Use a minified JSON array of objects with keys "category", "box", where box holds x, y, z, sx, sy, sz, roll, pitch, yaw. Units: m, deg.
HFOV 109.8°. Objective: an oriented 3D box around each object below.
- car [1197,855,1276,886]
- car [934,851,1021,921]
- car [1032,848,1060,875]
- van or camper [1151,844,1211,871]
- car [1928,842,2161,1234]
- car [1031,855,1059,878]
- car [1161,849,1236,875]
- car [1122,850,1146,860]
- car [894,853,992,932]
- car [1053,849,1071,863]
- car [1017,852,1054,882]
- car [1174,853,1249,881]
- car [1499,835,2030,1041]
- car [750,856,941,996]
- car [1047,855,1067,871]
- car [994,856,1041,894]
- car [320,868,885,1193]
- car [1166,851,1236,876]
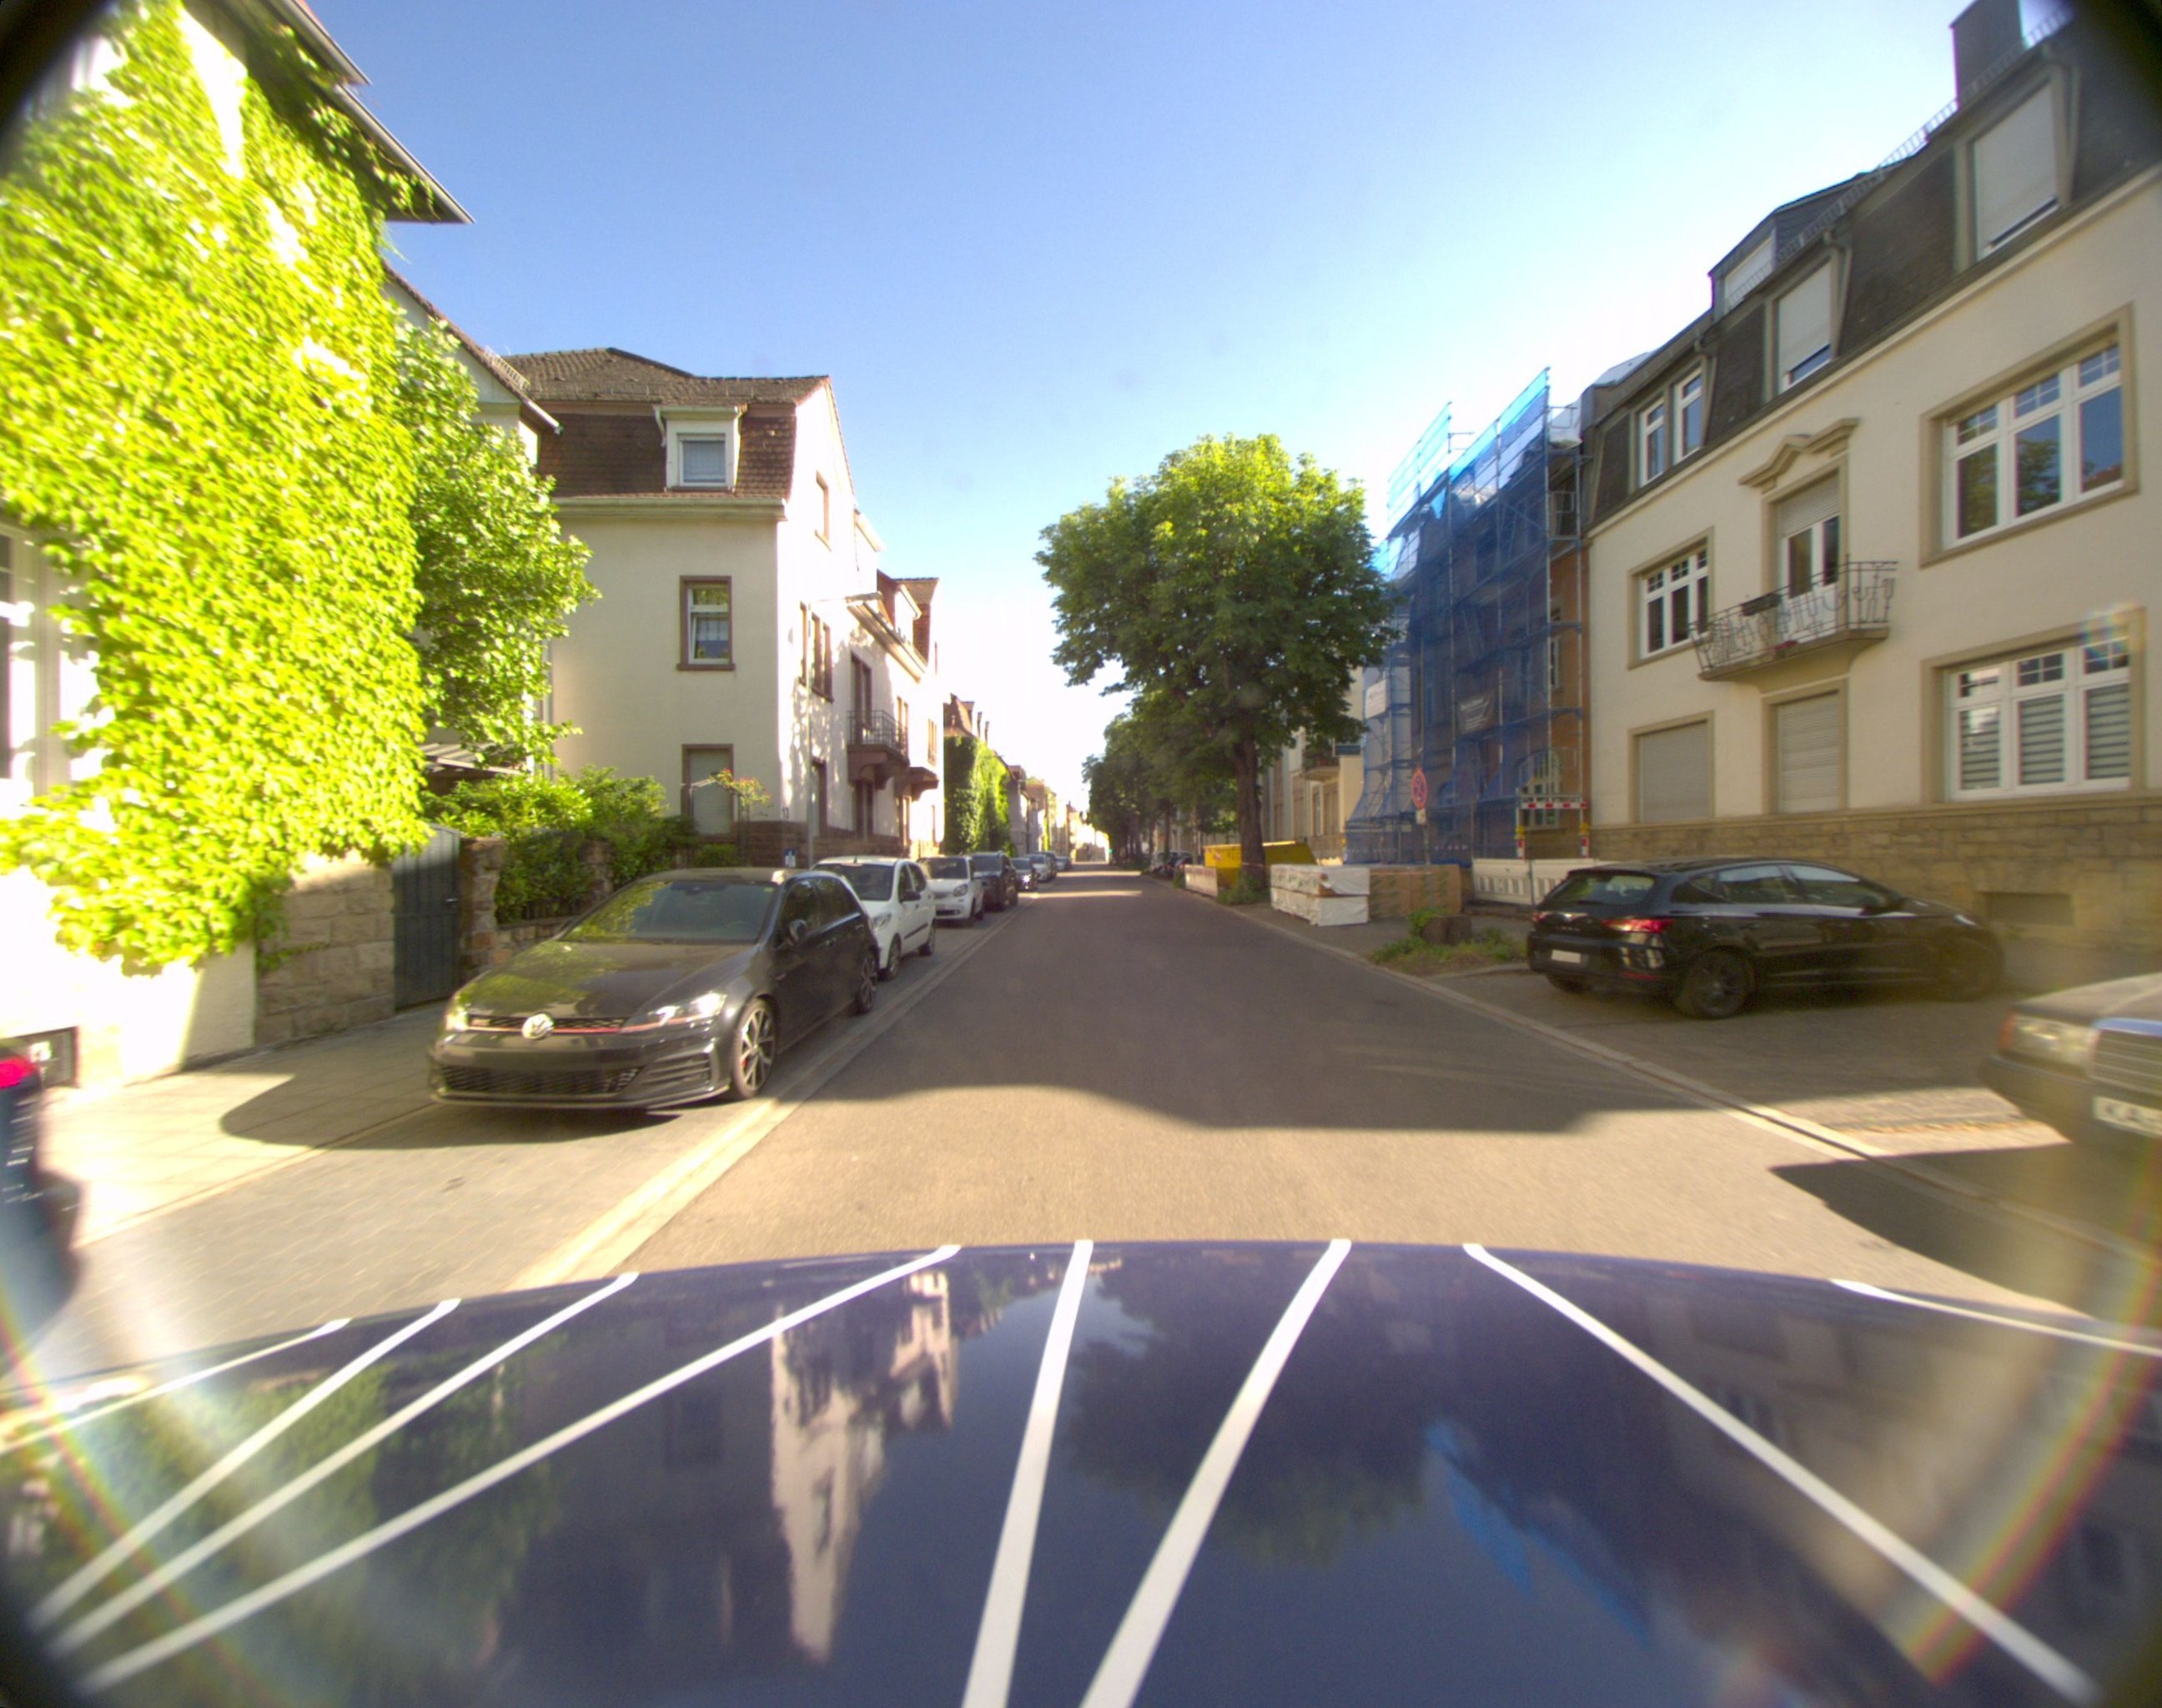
[{"category":"car","box":[7.643,0.806,37.553,3.558,1.440,1.695,0,1,1]},{"category":"car","box":[-2.912,0.846,22.258,1.782,1.686,4.319,-3,1,1]},{"category":"car","box":[-2.593,0.520,57.146,1.857,1.898,4.851,-1,0,1]},{"category":"van or camper","box":[7.044,0.252,53.850,3.954,1.763,1.809,-1,0,0]},{"category":"car","box":[6.727,0.726,3.102,4.601,1.598,1.832,-1,1,-2]},{"category":"car","box":[-2.388,0.819,51.337,1.641,1.413,4.008,0,0,0]},{"category":"car","box":[6.941,0.462,45.193,4.150,1.393,1.710,-2,0,0]},{"category":"car","box":[8.056,0.170,114.893,3.496,1.421,1.542,-1,1,0]},{"category":"car","box":[-3.032,0.801,17.218,1.629,1.540,2.868,-2,2,0]},{"category":"car","box":[-2.172,0.229,86.830,1.822,1.530,4.160,-3,0,1]},{"category":"car","box":[-2.623,0.722,44.701,1.872,1.635,4.199,0,0,1]},{"category":"car","box":[6.839,0.679,40.121,3.735,1.456,1.715,0,0,1]},{"category":"car","box":[6.586,0.691,7.554,3.883,1.505,1.831,-4,1,-8]},{"category":"car","box":[-3.077,0.851,10.642,1.579,1.540,3.467,0,2,0]},{"category":"car","box":[-2.369,0.848,76.360,1.814,1.546,4.106,-1,0,0]},{"category":"car","box":[-2.702,0.868,33.211,1.648,1.445,4.502,-1,0,0]},{"category":"car","box":[-2.933,0.929,5.900,1.713,1.428,4.192,1,1,0]},{"category":"car","box":[6.779,0.522,43.253,3.757,1.423,1.646,0,1,1]}]
